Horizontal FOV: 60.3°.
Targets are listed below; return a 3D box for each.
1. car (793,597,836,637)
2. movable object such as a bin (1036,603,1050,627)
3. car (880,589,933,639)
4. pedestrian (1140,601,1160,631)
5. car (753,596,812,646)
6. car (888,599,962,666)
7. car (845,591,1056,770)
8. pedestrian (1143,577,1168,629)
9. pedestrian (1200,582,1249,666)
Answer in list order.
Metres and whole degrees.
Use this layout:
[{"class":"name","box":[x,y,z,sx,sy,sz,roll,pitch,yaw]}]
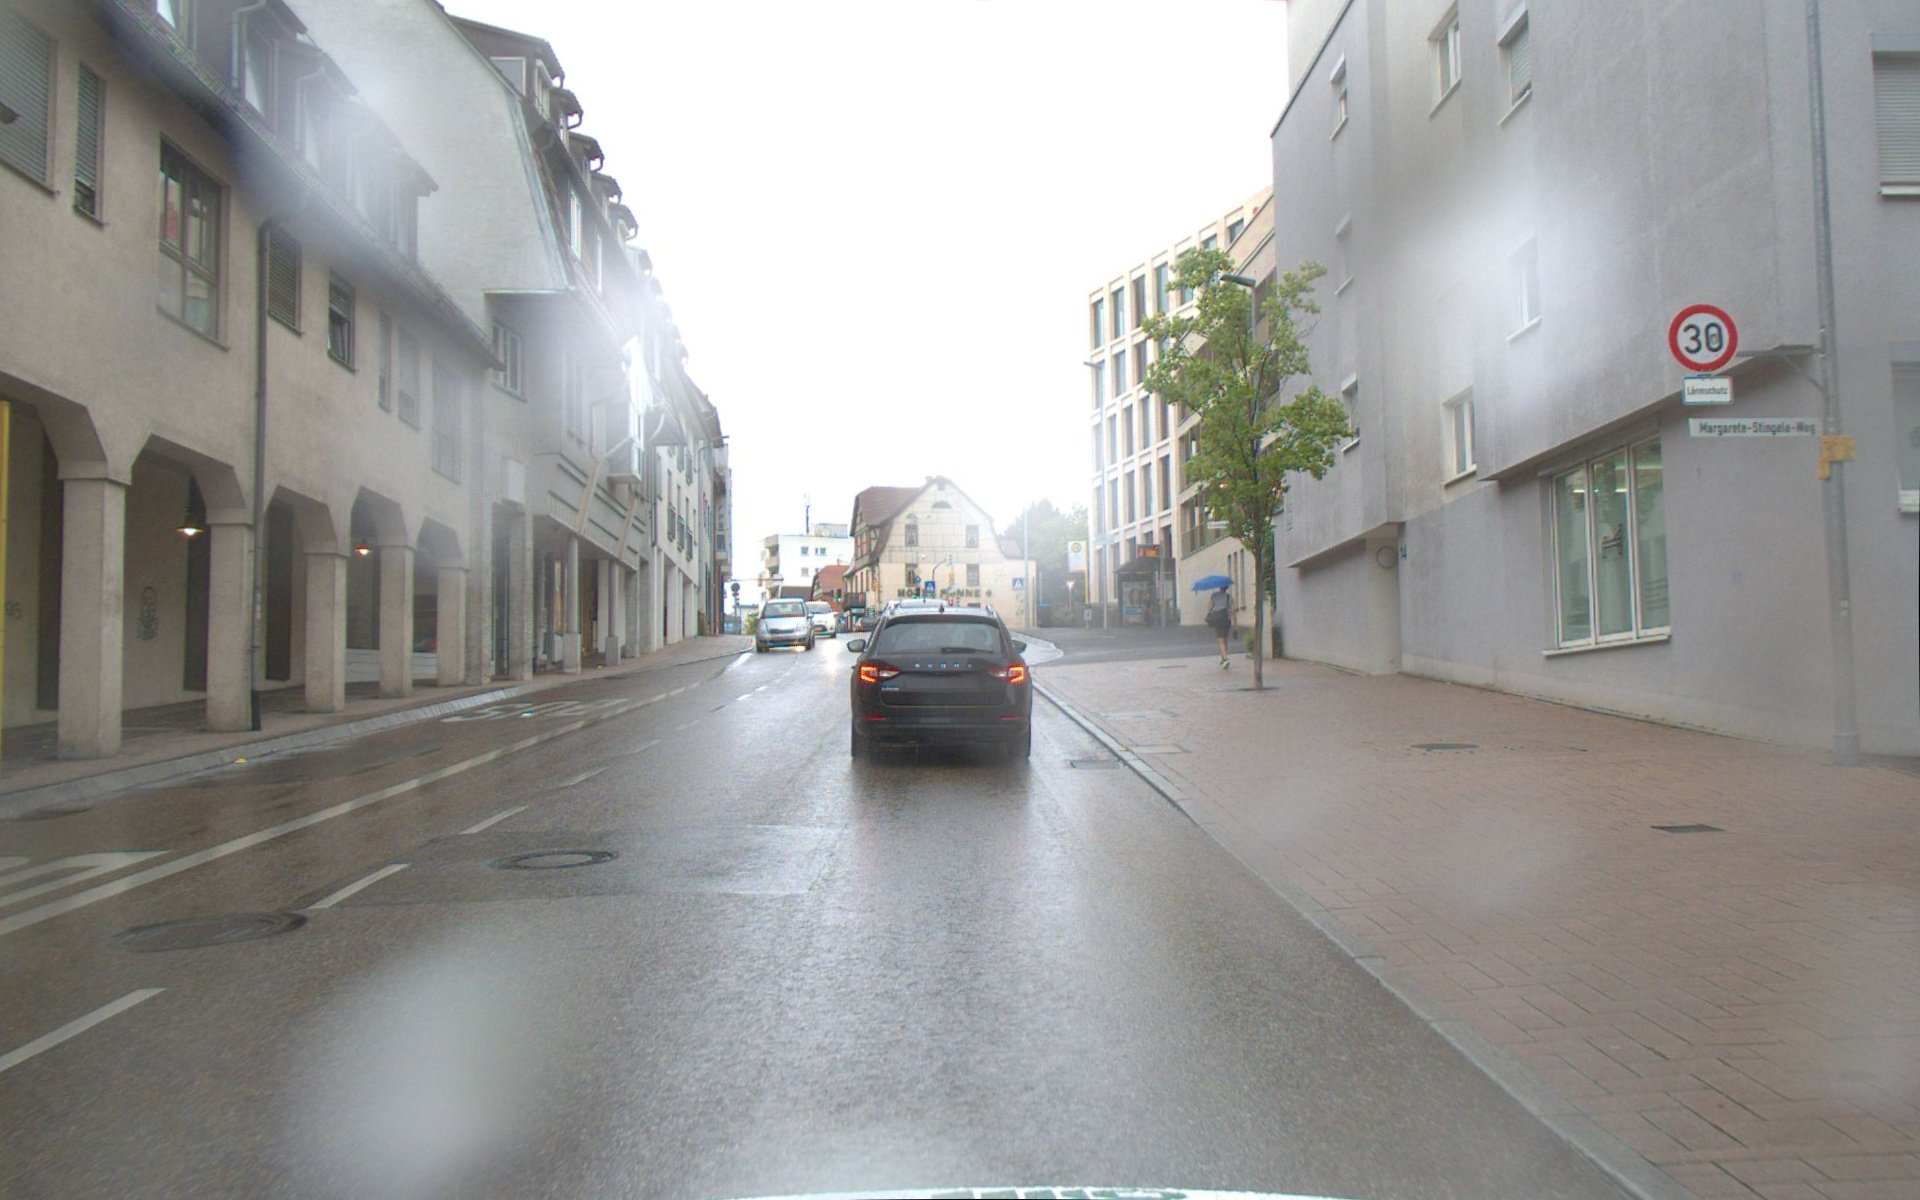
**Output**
[{"class":"car","box":[-5.866,0.684,67.167,1.644,1.536,3.586,-1,0,-4]},{"class":"movable object such as a bin","box":[3.887,0.709,77.567,0.583,1.081,0.578,-1,-1,-2]},{"class":"car","box":[-1.792,0.454,55.565,1.647,1.587,3.998,-2,0,-2]},{"class":"pedestrian","box":[7.659,0.632,66.633,0.658,1.182,0.635,-3,-1,-2]},{"class":"car","box":[-5.702,0.662,53.438,1.643,1.536,3.587,-1,0,-3]},{"class":"car","box":[-0.904,0.767,40.738,1.644,1.536,3.586,-1,0,-4]},{"class":"car","box":[-0.146,0.737,17.235,1.905,1.594,4.415,-1,0,-2]},{"class":"pedestrian","box":[7.697,0.117,65.241,0.766,1.974,1.021,-3,-1,-1]},{"class":"pedestrian","box":[5.190,0.473,32.481,0.721,1.569,1.038,-4,-1,1]}]
